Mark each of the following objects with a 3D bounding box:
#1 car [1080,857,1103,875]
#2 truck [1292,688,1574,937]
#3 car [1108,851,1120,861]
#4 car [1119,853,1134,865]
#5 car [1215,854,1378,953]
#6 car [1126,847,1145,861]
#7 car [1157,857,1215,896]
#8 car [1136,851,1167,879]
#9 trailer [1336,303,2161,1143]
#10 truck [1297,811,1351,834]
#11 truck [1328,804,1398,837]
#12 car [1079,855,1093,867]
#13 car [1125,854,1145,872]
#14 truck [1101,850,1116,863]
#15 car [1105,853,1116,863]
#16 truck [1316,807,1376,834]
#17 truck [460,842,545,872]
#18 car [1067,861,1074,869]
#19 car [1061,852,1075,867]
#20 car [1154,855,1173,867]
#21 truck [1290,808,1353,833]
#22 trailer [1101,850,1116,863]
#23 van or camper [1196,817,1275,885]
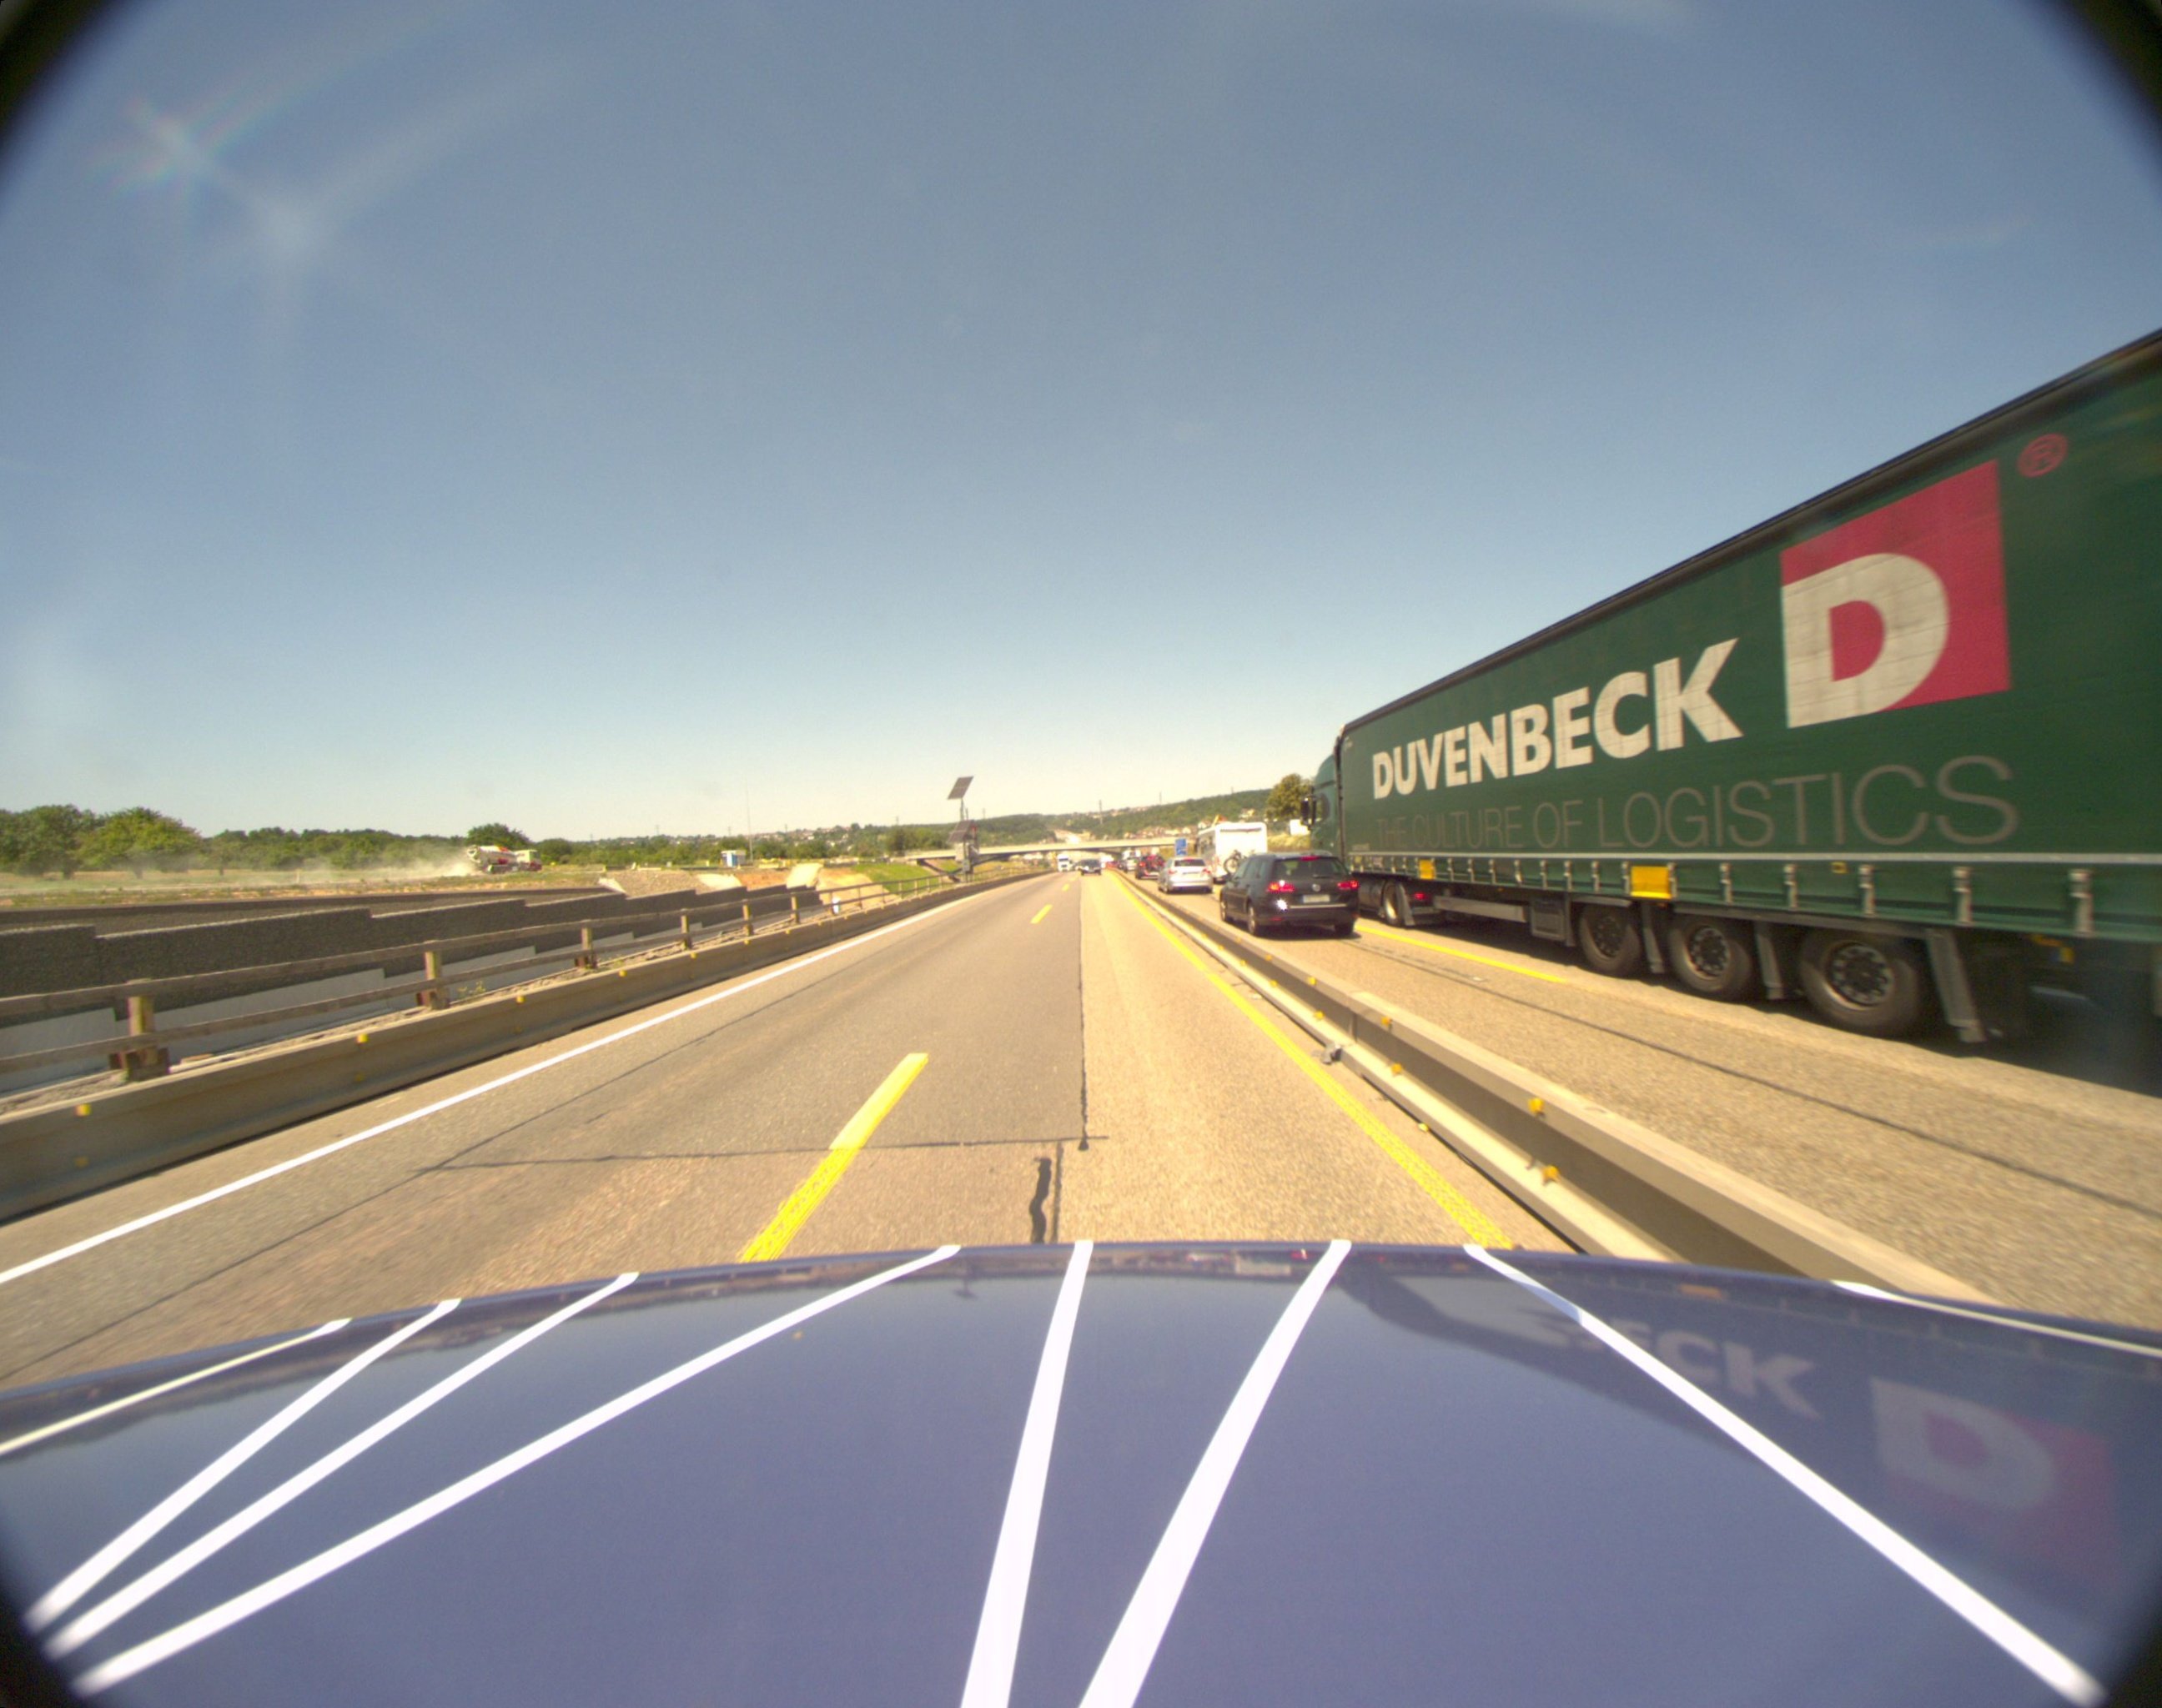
[{"bbox_3d":[0.847,0.989,62.876,1.810,1.299,4.000,-2,0,1],"label":"car"},{"bbox_3d":[6.952,-0.730,16.261,3.014,4.179,6.282,-2,0,0],"label":"truck"},{"bbox_3d":[5.124,0.296,116.891,1.651,1.359,3.945,-1,0,0],"label":"car"},{"bbox_3d":[5.429,0.566,90.989,1.651,1.359,3.945,-1,0,0],"label":"car"},{"bbox_3d":[3.756,0.781,14.020,1.771,1.465,4.227,-2,0,0],"label":"car"},{"bbox_3d":[8.620,-0.046,120.448,2.416,2.106,5.314,-4,0,0],"label":"car"},{"bbox_3d":[3.987,0.801,29.335,1.714,1.344,3.889,-1,0,0],"label":"car"},{"bbox_3d":[4.343,0.652,47.285,1.651,1.592,4.490,-2,0,2],"label":"car"},{"bbox_3d":[6.931,-0.711,9.146,3.014,4.174,13.849,-2,0,0],"label":"trailer"},{"bbox_3d":[45.687,-5.901,143.226,9.135,3.522,2.696,-5,1,43],"label":"truck"},{"bbox_3d":[46.198,-5.447,124.790,9.869,4.195,3.590,-5,1,43],"label":"truck"},{"bbox_3d":[0.762,0.989,110.637,1.847,1.572,4.000,-2,0,1],"label":"car"},{"bbox_3d":[4.802,0.781,68.357,1.651,1.563,3.945,-1,0,2],"label":"car"},{"bbox_3d":[7.024,0.569,192.834,3.397,2.939,6.085,-4,0,2],"label":"truck"},{"bbox_3d":[5.250,0.722,136.079,1.723,1.582,3.797,-4,0,1],"label":"car"},{"bbox_3d":[45.762,-5.761,131.389,9.253,3.653,2.867,-6,1,44],"label":"truck"},{"bbox_3d":[-73.571,0.331,96.919,3.154,3.445,8.761,-4,0,9],"label":"truck"},{"bbox_3d":[-2.745,2.926,203.005,1.739,2.002,3.876,-3,0,1],"label":"car"},{"bbox_3d":[-2.852,1.134,164.762,2.544,3.127,7.547,-4,0,1],"label":"car"},{"bbox_3d":[9.211,0.765,84.962,1.651,1.359,3.945,-1,0,0],"label":"car"},{"bbox_3d":[46.812,-6.502,148.194,11.490,3.653,2.535,-6,1,44],"label":"truck"},{"bbox_3d":[6.717,0.636,184.918,3.397,2.939,9.784,-4,0,2],"label":"trailer"},{"bbox_3d":[7.391,-0.171,37.395,2.442,2.900,7.824,-2,0,2],"label":"van or camper"}]
